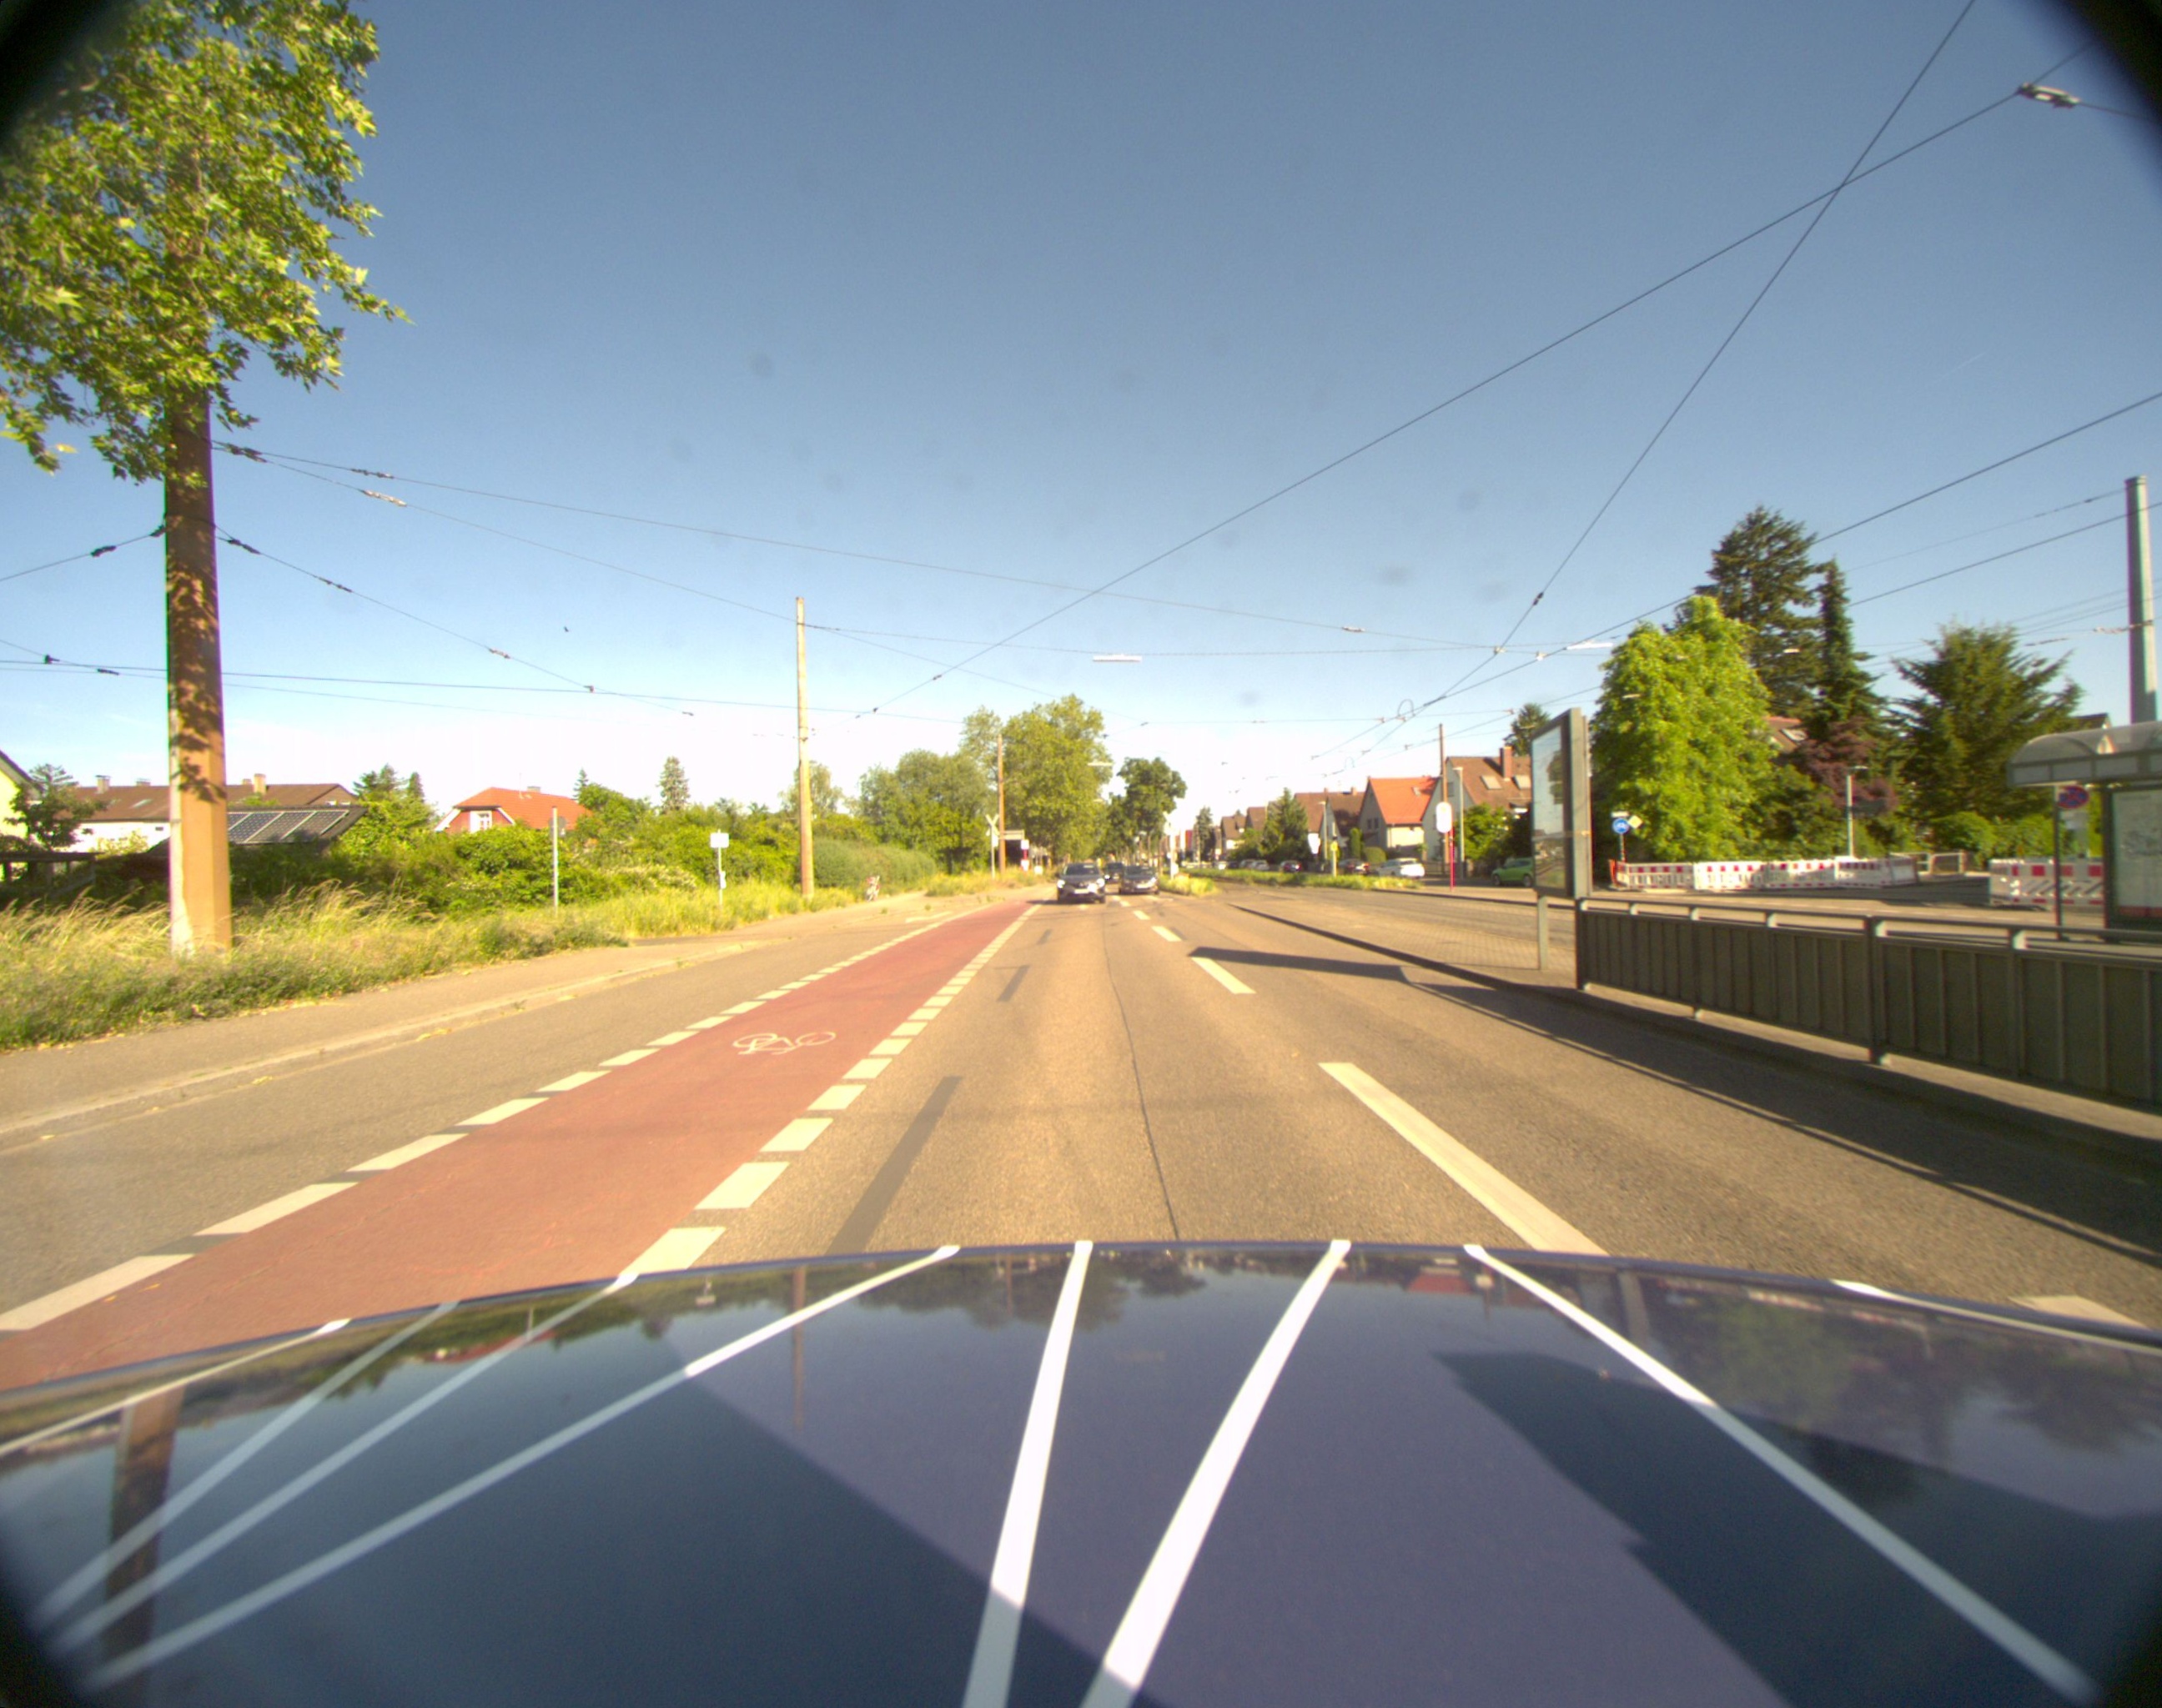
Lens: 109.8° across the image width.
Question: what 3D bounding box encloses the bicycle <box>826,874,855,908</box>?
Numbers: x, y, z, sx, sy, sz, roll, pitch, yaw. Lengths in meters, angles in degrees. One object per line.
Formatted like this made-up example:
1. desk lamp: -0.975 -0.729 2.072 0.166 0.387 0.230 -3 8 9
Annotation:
1. bicycle: -8.530 1.300 26.977 0.366 1.128 2.095 -1 0 -1

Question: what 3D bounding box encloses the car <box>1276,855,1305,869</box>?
1. car: 22.118 0.867 80.446 1.998 1.363 4.310 -2 0 1

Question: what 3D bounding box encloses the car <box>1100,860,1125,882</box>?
1. car: 2.444 1.319 59.635 1.779 1.620 4.288 -1 0 0

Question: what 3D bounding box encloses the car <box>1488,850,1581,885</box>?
1. car: 22.038 0.627 37.126 1.999 1.492 4.068 -3 0 -2

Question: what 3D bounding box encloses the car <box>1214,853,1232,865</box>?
1. car: 22.457 0.790 120.229 1.998 1.852 4.584 -2 0 1

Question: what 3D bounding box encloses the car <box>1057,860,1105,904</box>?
1. car: -0.002 1.003 29.092 1.673 1.529 3.586 -2 0 0

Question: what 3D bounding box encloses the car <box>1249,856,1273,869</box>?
1. car: 22.348 1.035 94.622 1.888 1.463 4.839 -3 0 1

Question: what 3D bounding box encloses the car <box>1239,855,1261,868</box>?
1. car: 22.108 1.001 99.677 1.888 1.552 4.537 -3 0 1

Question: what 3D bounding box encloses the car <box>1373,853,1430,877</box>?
1. car: 21.837 0.710 51.977 1.888 1.464 4.614 -3 0 -1

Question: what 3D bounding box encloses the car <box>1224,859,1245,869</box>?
1. car: 22.436 1.468 111.381 1.998 1.333 4.982 -3 0 1

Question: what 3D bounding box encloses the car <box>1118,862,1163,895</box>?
1. car: 2.846 1.143 37.303 1.780 1.441 4.333 -2 0 -1

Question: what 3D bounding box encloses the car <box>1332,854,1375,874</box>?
1. car: 21.980 0.751 61.505 1.912 1.457 4.441 -3 0 1
